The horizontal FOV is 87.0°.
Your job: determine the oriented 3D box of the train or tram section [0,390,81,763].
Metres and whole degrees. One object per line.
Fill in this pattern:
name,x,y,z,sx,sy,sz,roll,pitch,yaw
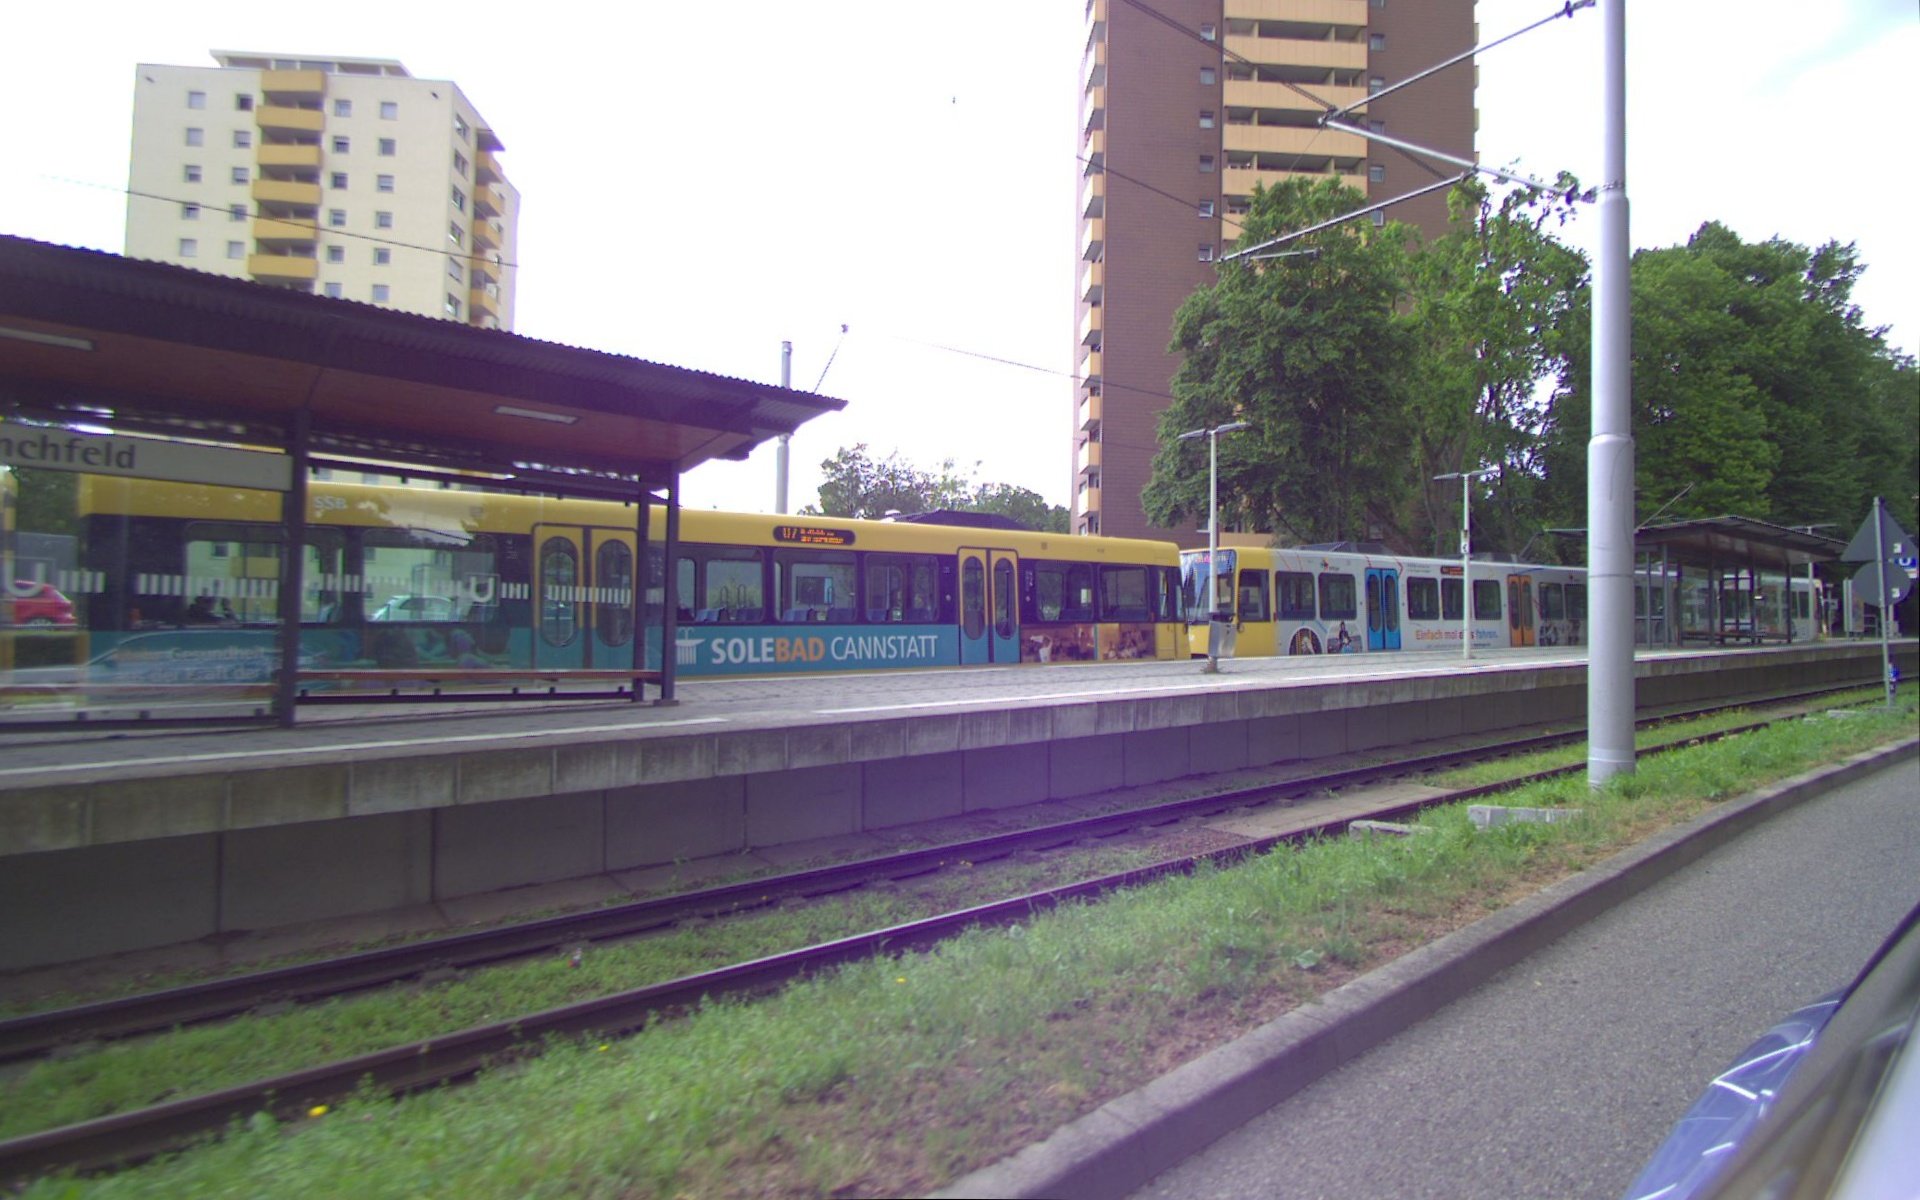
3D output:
train or tram section,-17.310,-0.318,5.162,19.159,3.636,2.819,1,-3,-39

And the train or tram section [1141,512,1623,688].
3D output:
train or tram section,12.869,0.148,28.592,18.568,3.848,2.822,1,-3,-34

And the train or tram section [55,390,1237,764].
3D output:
train or tram section,-2.400,-0.062,17.250,19.154,3.786,2.819,1,-3,-38

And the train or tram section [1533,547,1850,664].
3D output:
train or tram section,28.452,0.324,38.626,18.163,3.786,2.824,1,-3,-31
